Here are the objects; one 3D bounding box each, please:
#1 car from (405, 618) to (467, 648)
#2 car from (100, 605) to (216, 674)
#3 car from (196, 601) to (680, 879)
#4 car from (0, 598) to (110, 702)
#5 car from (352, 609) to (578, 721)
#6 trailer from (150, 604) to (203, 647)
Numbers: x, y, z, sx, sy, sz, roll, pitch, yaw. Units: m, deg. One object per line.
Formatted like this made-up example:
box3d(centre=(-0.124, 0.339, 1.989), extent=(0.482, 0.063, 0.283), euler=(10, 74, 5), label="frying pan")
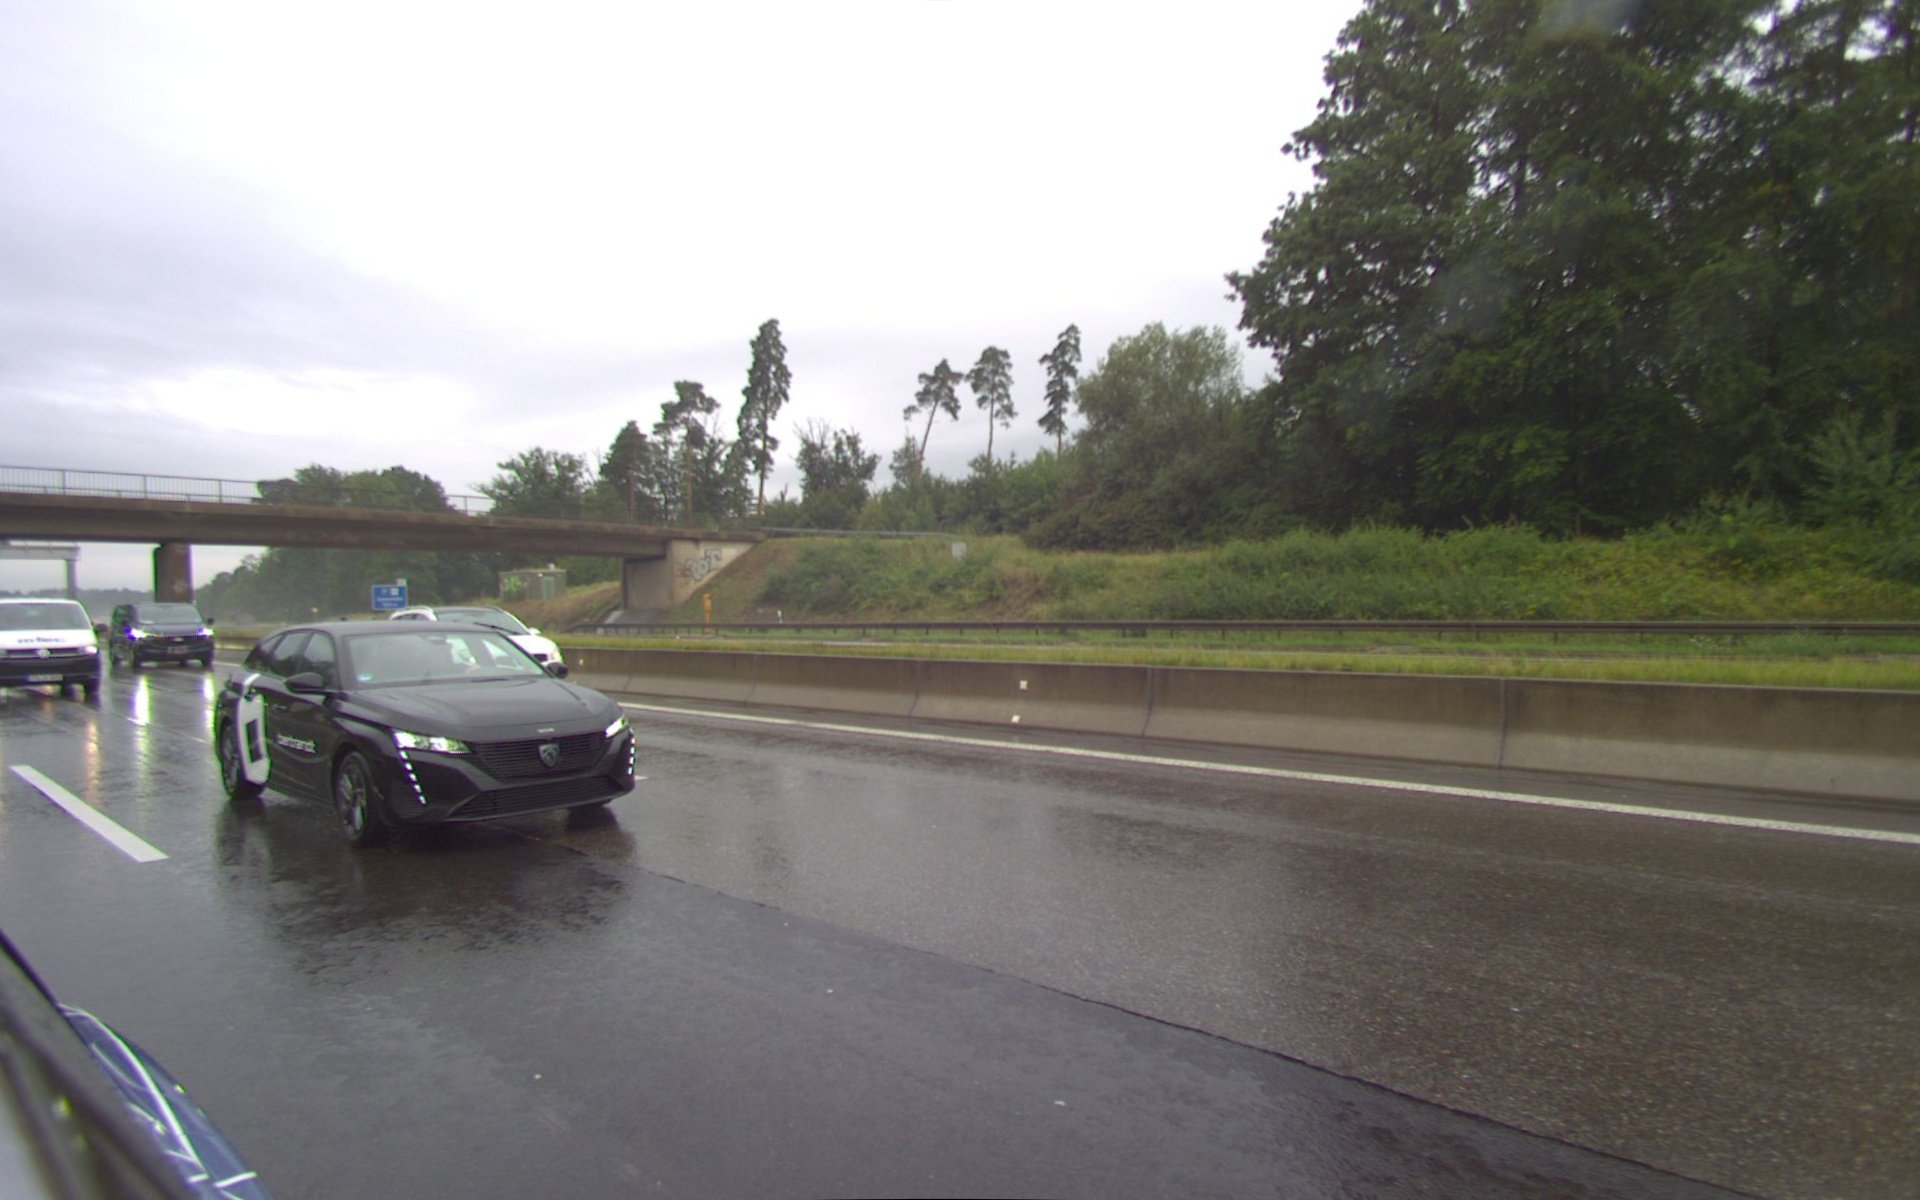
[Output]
box3d(centre=(-29.757, 1.877, 57.472), extent=(3.943, 1.603, 1.826), euler=(-2, -1, 42), label="car")
box3d(centre=(-24.892, 1.159, 31.328), extent=(5.241, 1.958, 1.970), euler=(-1, 0, 42), label="car")
box3d(centre=(-4.202, 0.815, 7.769), extent=(4.465, 1.516, 1.826), euler=(-1, -1, 42), label="car")
box3d(centre=(-18.960, 0.956, 20.527), extent=(4.765, 1.894, 1.969), euler=(-2, -1, 42), label="car")
box3d(centre=(-8.335, 0.994, 16.843), extent=(4.465, 1.603, 1.826), euler=(-1, -1, 42), label="car")
box3d(centre=(-93.805, 3.048, 120.999), extent=(13.350, 4.850, 3.169), euler=(-2, -1, 44), label="trailer")
